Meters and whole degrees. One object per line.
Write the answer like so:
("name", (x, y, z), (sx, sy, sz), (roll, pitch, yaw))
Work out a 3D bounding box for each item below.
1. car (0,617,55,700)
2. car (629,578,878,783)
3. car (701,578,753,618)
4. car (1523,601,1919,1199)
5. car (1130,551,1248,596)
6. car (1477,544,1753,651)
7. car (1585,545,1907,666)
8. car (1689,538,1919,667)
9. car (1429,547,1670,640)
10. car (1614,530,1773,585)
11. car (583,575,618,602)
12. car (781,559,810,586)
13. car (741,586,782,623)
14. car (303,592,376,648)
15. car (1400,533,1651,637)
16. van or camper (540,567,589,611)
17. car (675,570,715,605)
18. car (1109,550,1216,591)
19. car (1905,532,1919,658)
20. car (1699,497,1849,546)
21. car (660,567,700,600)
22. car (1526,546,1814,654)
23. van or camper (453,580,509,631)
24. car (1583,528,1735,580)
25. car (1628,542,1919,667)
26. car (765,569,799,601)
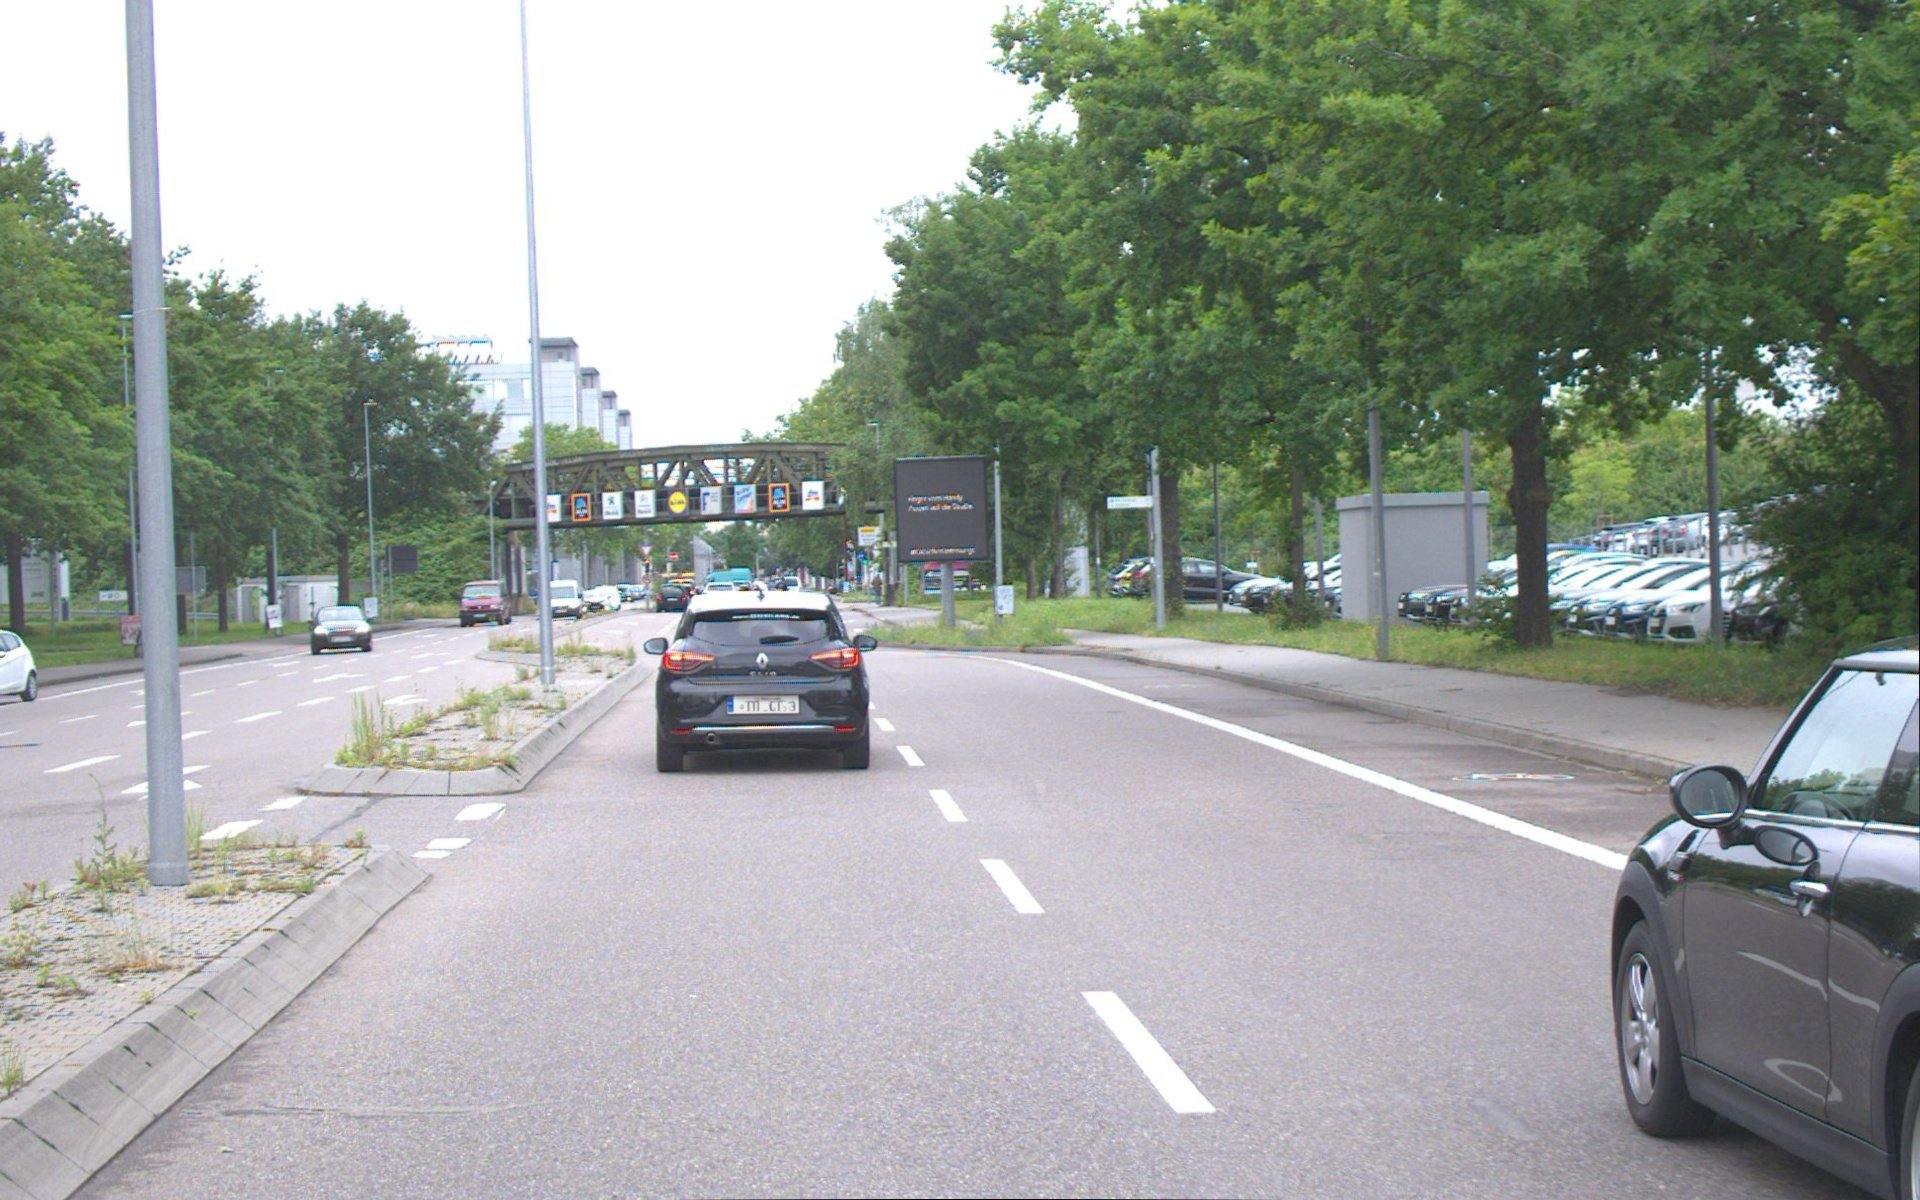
("car", (-18.859, 1.167, 65.664), (1.857, 1.457, 4.332), (-3, 1, 1))
("car", (-1.627, 0.607, 28.321), (1.757, 1.429, 4.000), (-2, 2, 0))
("car", (-10.613, -0.121, 157.038), (2.135, 1.656, 3.782), (-1, 2, 0))
("car", (2.693, 0.746, 8.205), (1.785, 1.411, 3.644), (-2, 1, -5))
("car", (7.819, -0.912, 117.590), (3.987, 1.431, 1.730), (-1, 2, 4))
("car", (11.617, -0.058, 61.172), (4.393, 1.515, 2.000), (4, 2, -2))
("car", (11.547, 0.069, 50.701), (4.181, 1.481, 1.977), (3, 2, -2))
("car", (11.944, 0.058, 45.544), (4.063, 1.481, 1.819), (3, 2, -3))
("car", (11.313, -0.135, 66.151), (4.175, 1.441, 1.960), (4, 2, -1))
("car", (20.799, -1.215, 97.542), (4.085, 1.431, 1.731), (-1, 2, -4))
("car", (-21.225, -0.679, 203.133), (1.754, 1.441, 3.339), (-1, 2, 0))
("car", (-11.890, -2.001, 248.856), (1.950, 1.809, 4.001), (-1, 2, -1))
("car", (-10.716, 0.257, 185.772), (1.950, 1.809, 4.001), (-1, 2, -1))
("car", (-18.709, 0.613, 103.723), (1.917, 1.497, 4.252), (-4, 0, -8))
("car", (11.268, -0.309, 68.751), (4.549, 1.696, 2.000), (4, 2, -1))
("van or camper", (-17.663, -0.505, 153.799), (1.755, 1.741, 4.407), (-5, 1, -3))
("car", (-15.013, -0.708, 194.909), (1.950, 1.809, 4.001), (-1, 2, -1))
("car", (7.642, -1.127, 129.626), (3.987, 1.431, 1.730), (-1, 2, 4))
("car", (12.712, 0.126, 37.556), (4.122, 1.389, 1.871), (4, 2, -3))
("car", (25.159, -2.431, 106.299), (4.198, 1.431, 1.731), (-1, 2, -4))
("car", (-15.310, -0.923, 188.194), (1.884, 1.656, 3.782), (-1, 2, 0))
("car", (11.528, -0.010, 55.991), (4.175, 1.451, 1.934), (3, 2, -1))
("van or camper", (-20.545, 0.206, 147.623), (1.875, 1.979, 4.890), (-3, 1, -3))
("car", (20.572, -1.363, 101.240), (4.085, 1.431, 1.731), (-1, 2, -4))
("car", (11.711, 0.059, 48.143), (4.195, 1.481, 1.959), (3, 2, -3))
("car", (-11.136, -0.957, 215.725), (1.950, 1.809, 4.001), (-1, 2, -1))
